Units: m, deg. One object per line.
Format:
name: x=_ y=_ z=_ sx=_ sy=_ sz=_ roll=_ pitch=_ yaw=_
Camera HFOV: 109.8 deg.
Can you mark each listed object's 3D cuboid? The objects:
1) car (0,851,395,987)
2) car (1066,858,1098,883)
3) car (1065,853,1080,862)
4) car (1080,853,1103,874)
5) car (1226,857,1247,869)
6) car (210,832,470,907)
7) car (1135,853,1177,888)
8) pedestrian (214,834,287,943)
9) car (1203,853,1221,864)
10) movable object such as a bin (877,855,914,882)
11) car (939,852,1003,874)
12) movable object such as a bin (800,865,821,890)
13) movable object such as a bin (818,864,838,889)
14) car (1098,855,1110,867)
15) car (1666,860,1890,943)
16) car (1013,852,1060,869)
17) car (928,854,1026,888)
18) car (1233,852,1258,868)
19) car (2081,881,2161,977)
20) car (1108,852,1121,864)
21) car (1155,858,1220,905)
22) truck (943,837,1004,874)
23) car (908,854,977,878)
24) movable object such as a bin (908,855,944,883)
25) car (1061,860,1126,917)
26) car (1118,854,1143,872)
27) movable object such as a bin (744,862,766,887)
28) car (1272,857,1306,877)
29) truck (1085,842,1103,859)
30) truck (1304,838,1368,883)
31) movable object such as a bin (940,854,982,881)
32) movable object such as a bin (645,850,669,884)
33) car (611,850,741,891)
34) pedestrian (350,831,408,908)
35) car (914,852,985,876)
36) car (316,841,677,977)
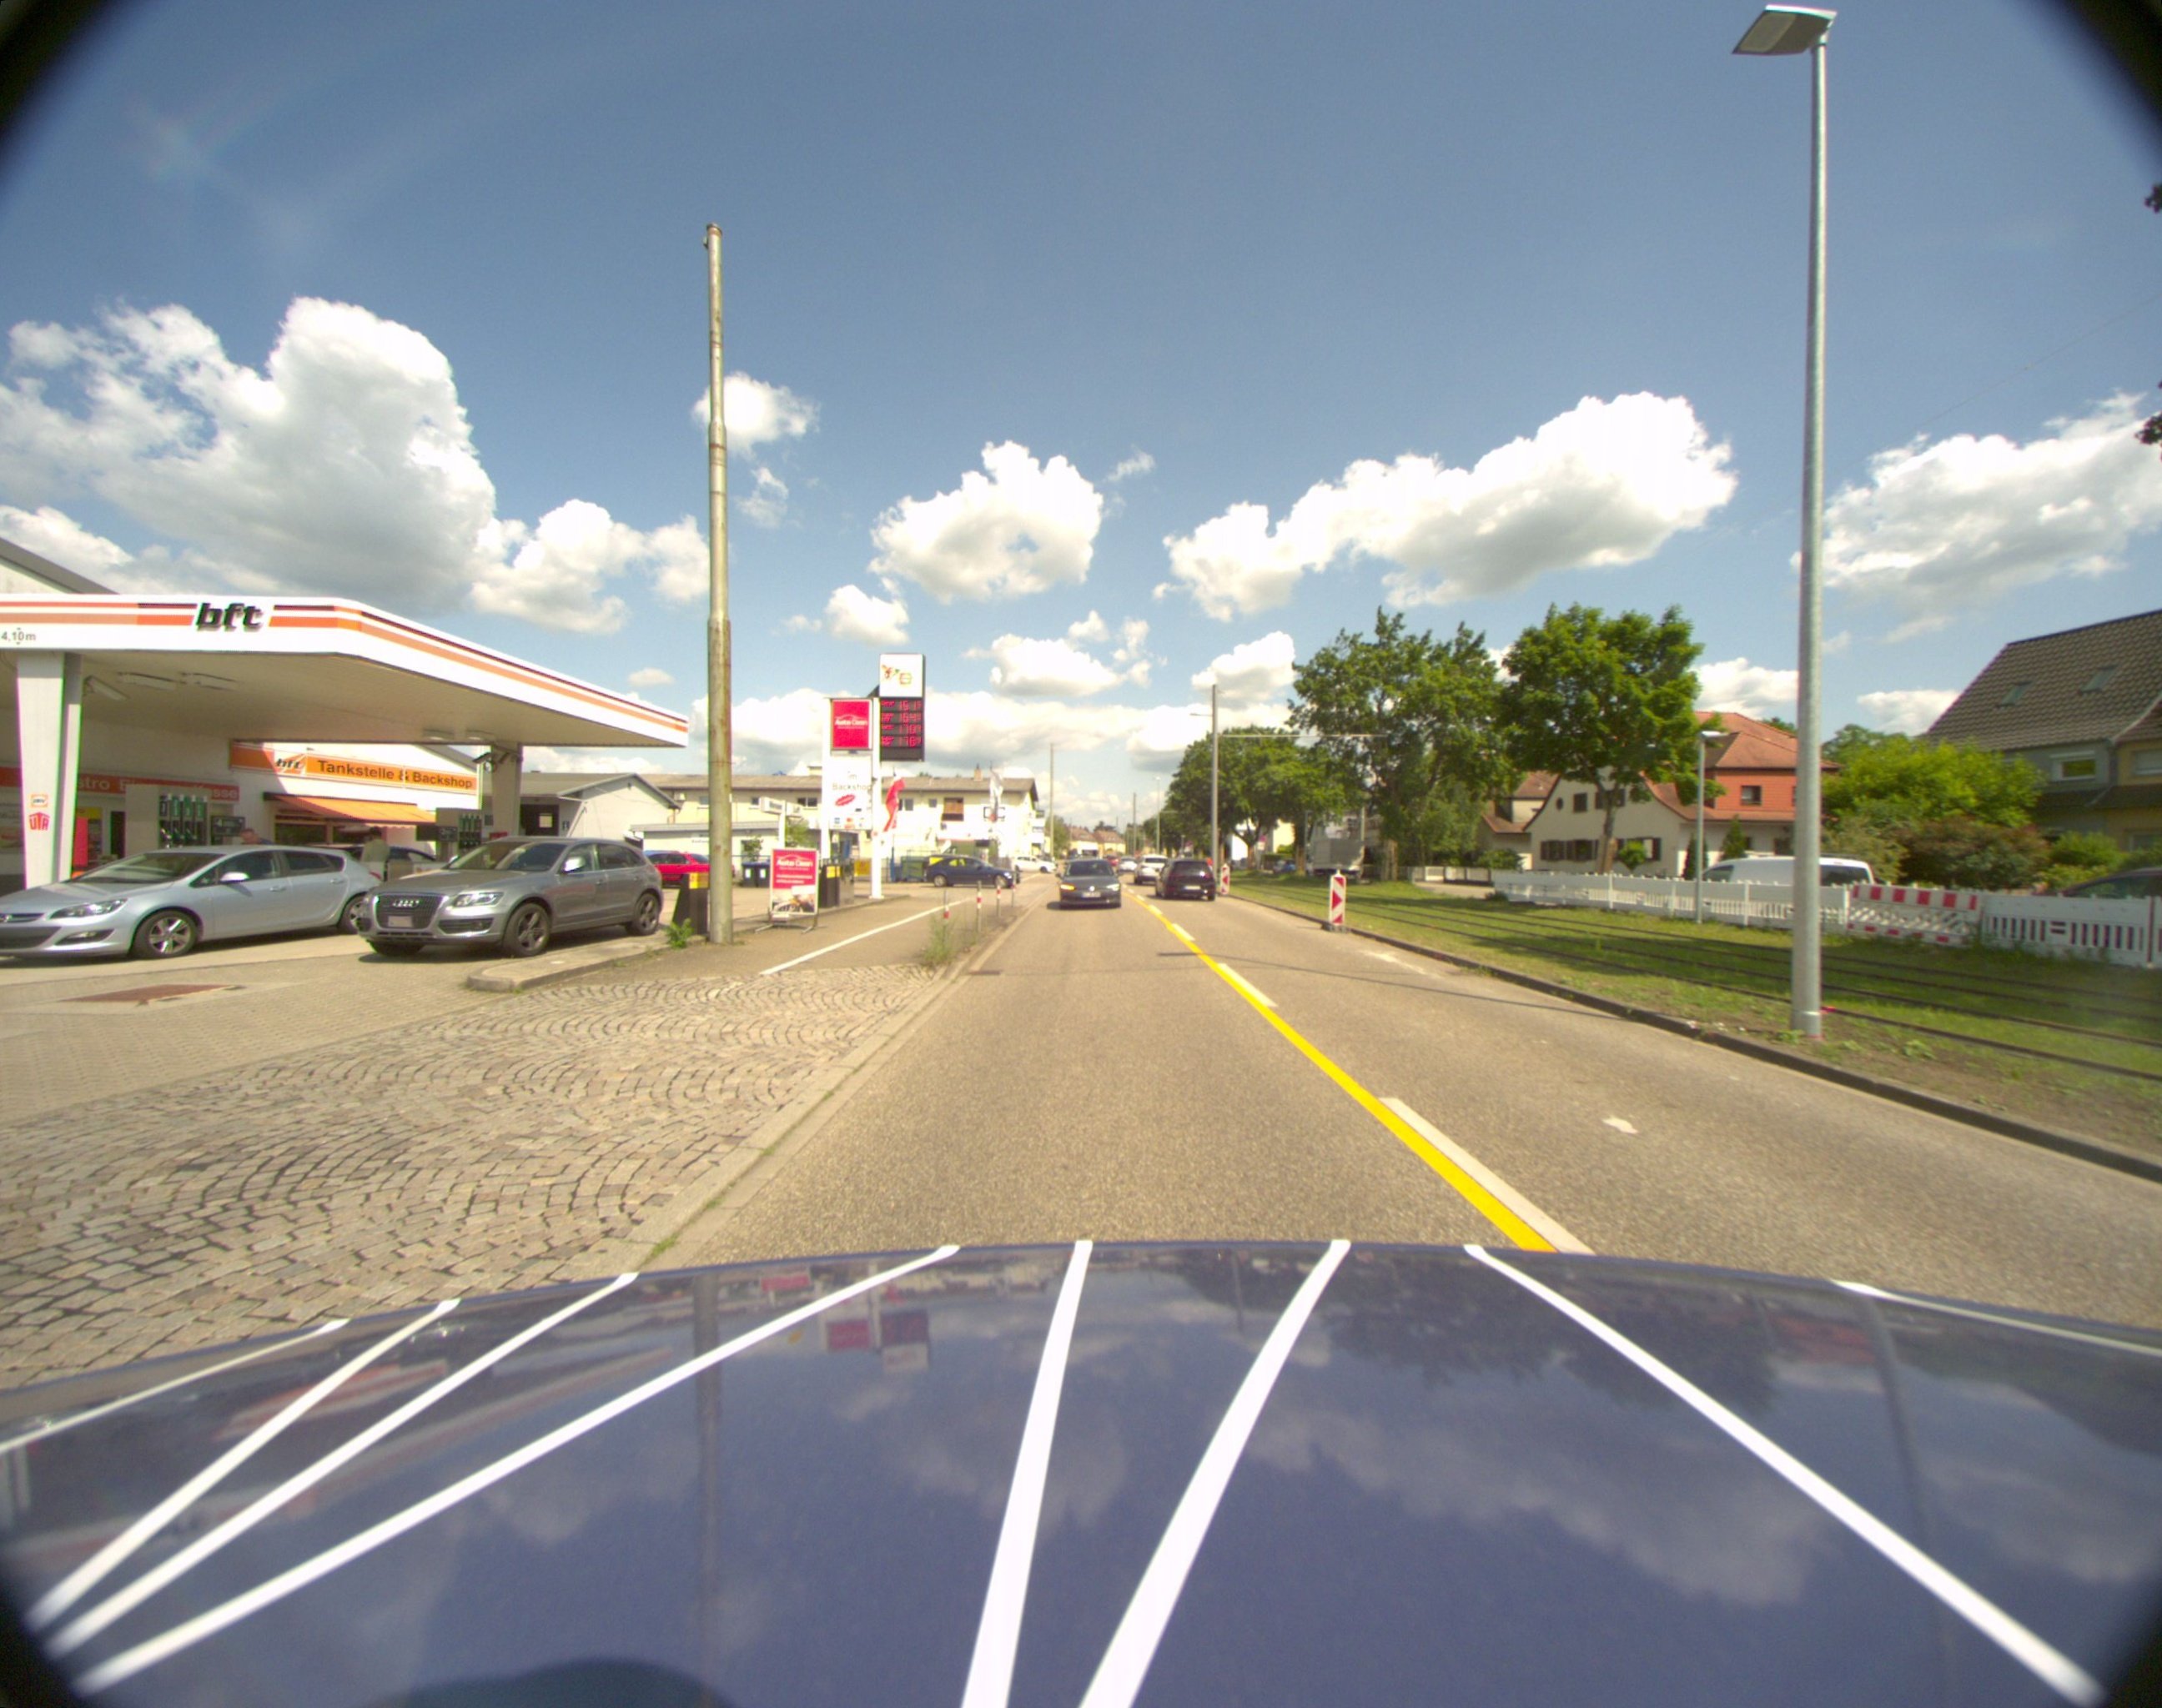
car: x=-12.693 y=0.743 z=10.949 sx=1.696 sy=1.462 sz=4.422 roll=2 pitch=1 yaw=-2
car: x=0.084 y=0.905 z=43.028 sx=1.732 sy=1.259 sz=3.999 roll=-1 pitch=1 yaw=1
car: x=-1.299 y=0.514 z=121.485 sx=1.823 sy=1.412 sz=4.002 roll=1 pitch=0 yaw=7
car: x=0.780 y=0.669 z=55.260 sx=1.594 sy=1.418 sz=3.707 roll=-1 pitch=1 yaw=1
car: x=17.375 y=1.020 z=85.160 sx=1.624 sy=1.235 sz=3.786 roll=-1 pitch=1 yaw=1
car: x=-17.161 y=0.327 z=17.986 sx=1.687 sy=1.511 sz=4.493 roll=1 pitch=0 yaw=1
car: x=4.002 y=0.850 z=41.048 sx=1.829 sy=1.656 sz=4.461 roll=2 pitch=1 yaw=1
pedestrian: x=-13.821 y=0.553 z=12.662 sx=0.498 sy=1.766 sz=0.577 roll=-1 pitch=1 yaw=-2
car: x=17.368 y=0.620 z=100.849 sx=1.636 sy=1.294 sz=3.999 roll=-1 pitch=1 yaw=1
movable object such as a bin: x=-9.946 y=0.756 z=40.908 sx=1.536 sy=1.402 sz=1.765 roll=-1 pitch=1 yaw=0
car: x=-7.973 y=0.667 z=55.176 sx=4.257 sy=1.499 sz=1.828 roll=-1 pitch=1 yaw=9
movable object such as a bin: x=-11.321 y=0.961 z=31.840 sx=0.582 sy=1.004 sz=0.706 roll=-1 pitch=1 yaw=0
movable object such as a bin: x=-10.614 y=0.948 z=31.833 sx=0.582 sy=1.004 sz=0.706 roll=-1 pitch=1 yaw=0
car: x=3.620 y=1.093 z=121.277 sx=1.801 sy=1.680 sz=4.221 roll=2 pitch=0 yaw=0
car: x=16.363 y=1.027 z=18.173 sx=1.657 sy=1.616 sz=4.000 roll=2 pitch=1 yaw=1
car: x=-3.794 y=0.578 z=64.709 sx=3.723 sy=1.350 sz=1.519 roll=-1 pitch=1 yaw=12
car: x=-4.666 y=0.751 z=34.333 sx=4.060 sy=1.400 sz=1.648 roll=1 pitch=1 yaw=7
car: x=17.101 y=0.588 z=79.118 sx=1.707 sy=1.504 sz=4.523 roll=-1 pitch=1 yaw=1
car: x=16.032 y=1.116 z=10.552 sx=1.075 sy=1.340 sz=2.449 roll=2 pitch=1 yaw=5
car: x=4.457 y=0.540 z=102.189 sx=1.582 sy=1.461 sz=3.720 roll=1 pitch=0 yaw=1
car: x=3.689 y=0.921 z=26.916 sx=1.696 sy=1.404 sz=3.859 roll=3 pitch=1 yaw=0
truck: x=-8.157 y=0.103 z=57.941 sx=4.181 sy=2.645 sz=2.108 roll=-1 pitch=1 yaw=2
car: x=-8.659 y=0.734 z=47.635 sx=3.901 sy=1.454 sz=1.628 roll=0 pitch=1 yaw=17
movable object such as a bin: x=-8.356 y=0.796 z=40.961 sx=1.536 sy=1.402 sz=1.765 roll=-1 pitch=1 yaw=0
car: x=0.395 y=0.936 z=22.455 sx=1.743 sy=1.410 sz=4.381 roll=-1 pitch=1 yaw=2
car: x=4.202 y=0.768 z=65.603 sx=1.825 sy=1.436 sz=4.483 roll=2 pitch=0 yaw=0
movable object such as a bin: x=-13.648 y=0.834 z=31.793 sx=0.582 sy=1.004 sz=0.706 roll=-1 pitch=1 yaw=0
car: x=16.738 y=1.016 z=61.284 sx=1.672 sy=1.504 sz=3.930 roll=-1 pitch=1 yaw=1
truck: x=2.236 y=-0.641 z=129.754 sx=2.631 sy=2.872 sz=7.924 roll=-1 pitch=1 yaw=3
truck: x=16.907 y=0.354 z=50.756 sx=2.371 sy=2.789 sz=5.950 roll=-1 pitch=1 yaw=1
movable object such as a bin: x=-6.476 y=0.723 z=41.012 sx=1.968 sy=1.339 sz=1.708 roll=-1 pitch=1 yaw=0
movable object such as a bin: x=-17.562 y=0.540 z=31.493 sx=0.582 sy=1.383 sz=0.706 roll=1 pitch=1 yaw=-1
car: x=-15.814 y=0.626 z=29.806 sx=4.144 sy=1.416 sz=1.771 roll=1 pitch=1 yaw=2
pedestrian: x=-15.985 y=0.333 z=17.316 sx=0.687 sy=1.712 sz=0.618 roll=-1 pitch=1 yaw=-12
car: x=-8.780 y=0.661 z=50.727 sx=4.254 sy=1.496 sz=1.829 roll=-1 pitch=1 yaw=17
car: x=-8.266 y=0.651 z=11.461 sx=1.951 sy=1.615 sz=4.614 roll=1 pitch=0 yaw=-1
